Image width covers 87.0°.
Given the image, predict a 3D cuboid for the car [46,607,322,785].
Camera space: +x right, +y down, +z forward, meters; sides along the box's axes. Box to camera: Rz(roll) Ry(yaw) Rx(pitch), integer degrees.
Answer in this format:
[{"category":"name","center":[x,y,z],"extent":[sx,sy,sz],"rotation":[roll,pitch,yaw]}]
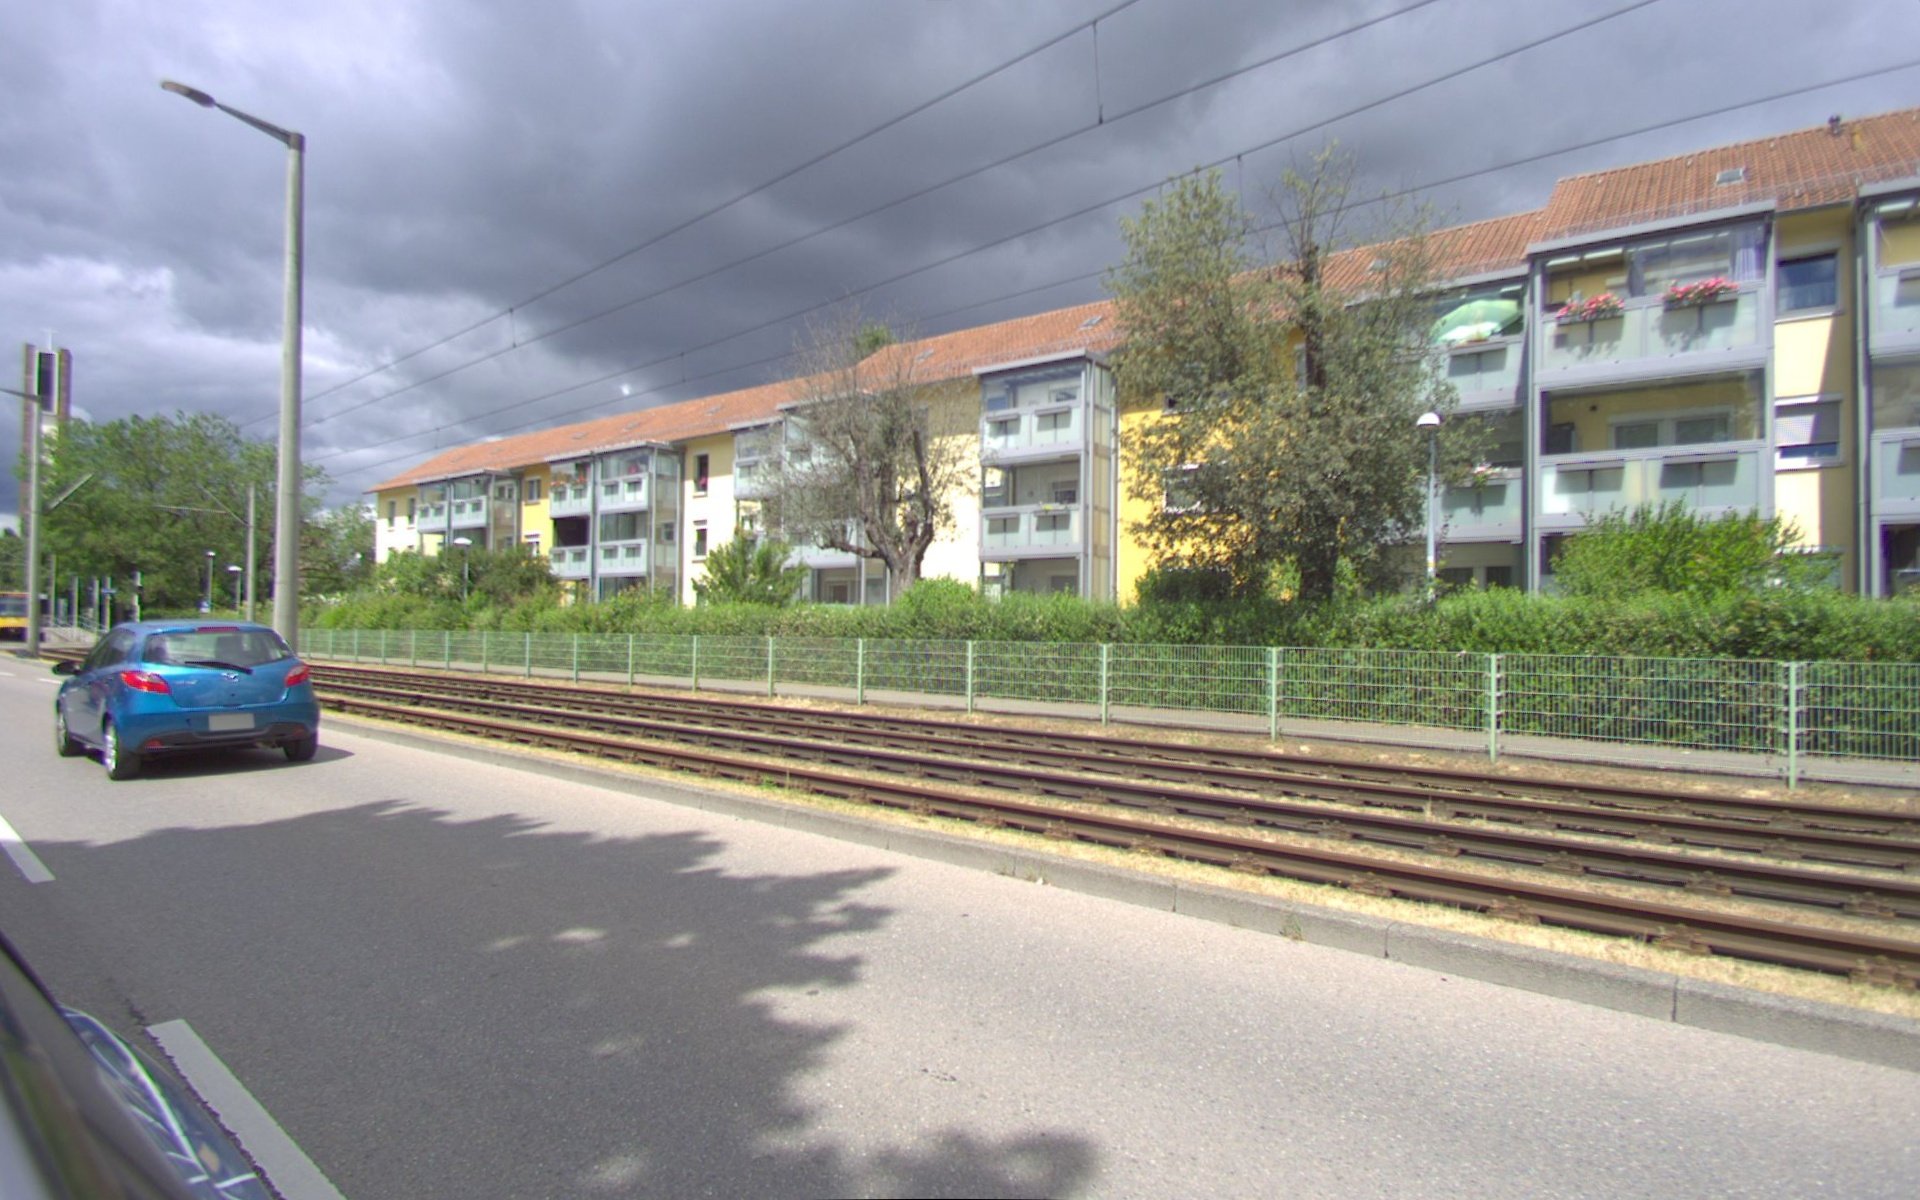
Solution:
[{"category":"car","center":[-8.170,0.864,10.552],"extent":[3.579,1.537,1.607],"rotation":[-1,-1,41]}]

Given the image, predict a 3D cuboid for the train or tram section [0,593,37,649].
[{"category":"train or tram section","center":[-73.621,1.628,76.769],"extent":[18.522,3.892,2.950],"rotation":[-1,-1,40]}]
